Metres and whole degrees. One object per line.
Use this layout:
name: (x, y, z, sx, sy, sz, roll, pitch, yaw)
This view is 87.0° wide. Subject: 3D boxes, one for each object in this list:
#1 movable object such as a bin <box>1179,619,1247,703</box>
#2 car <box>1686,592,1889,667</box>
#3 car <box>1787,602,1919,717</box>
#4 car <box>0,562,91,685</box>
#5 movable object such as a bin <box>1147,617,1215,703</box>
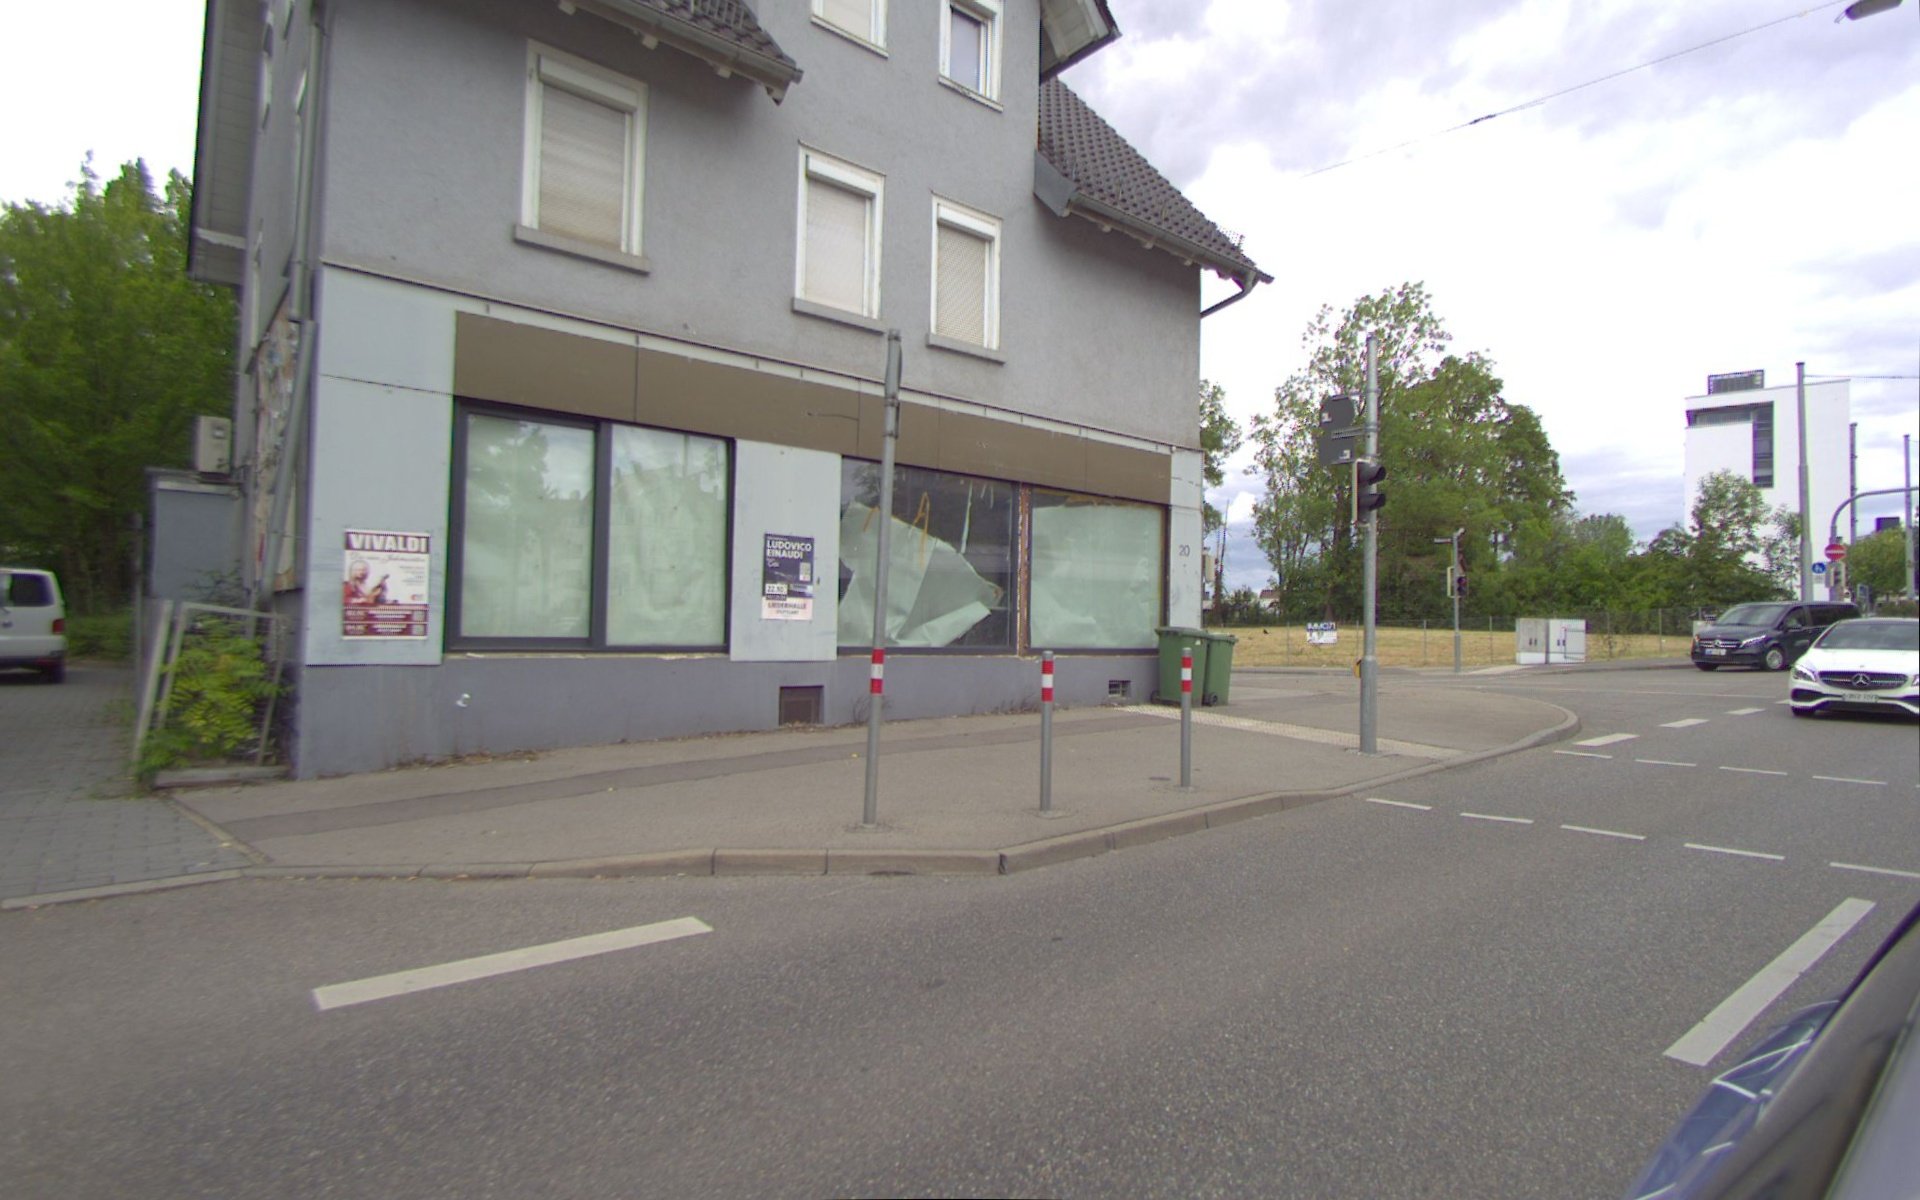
movable object such as a bin: (3.530, 0.835, 14.120, 0.697, 1.118, 0.627, 1, -1, -40)
car: (22.477, 0.745, 27.520, 4.772, 1.911, 2.021, 0, 0, -18)
car: (14.039, 0.778, 15.031, 4.614, 1.491, 1.798, 0, 0, -39)
car: (-17.236, 0.377, 18.363, 2.080, 2.039, 4.281, 1, 0, -39)
movable object such as a bin: (2.980, 0.792, 13.652, 0.697, 1.118, 0.610, 1, -1, -40)
